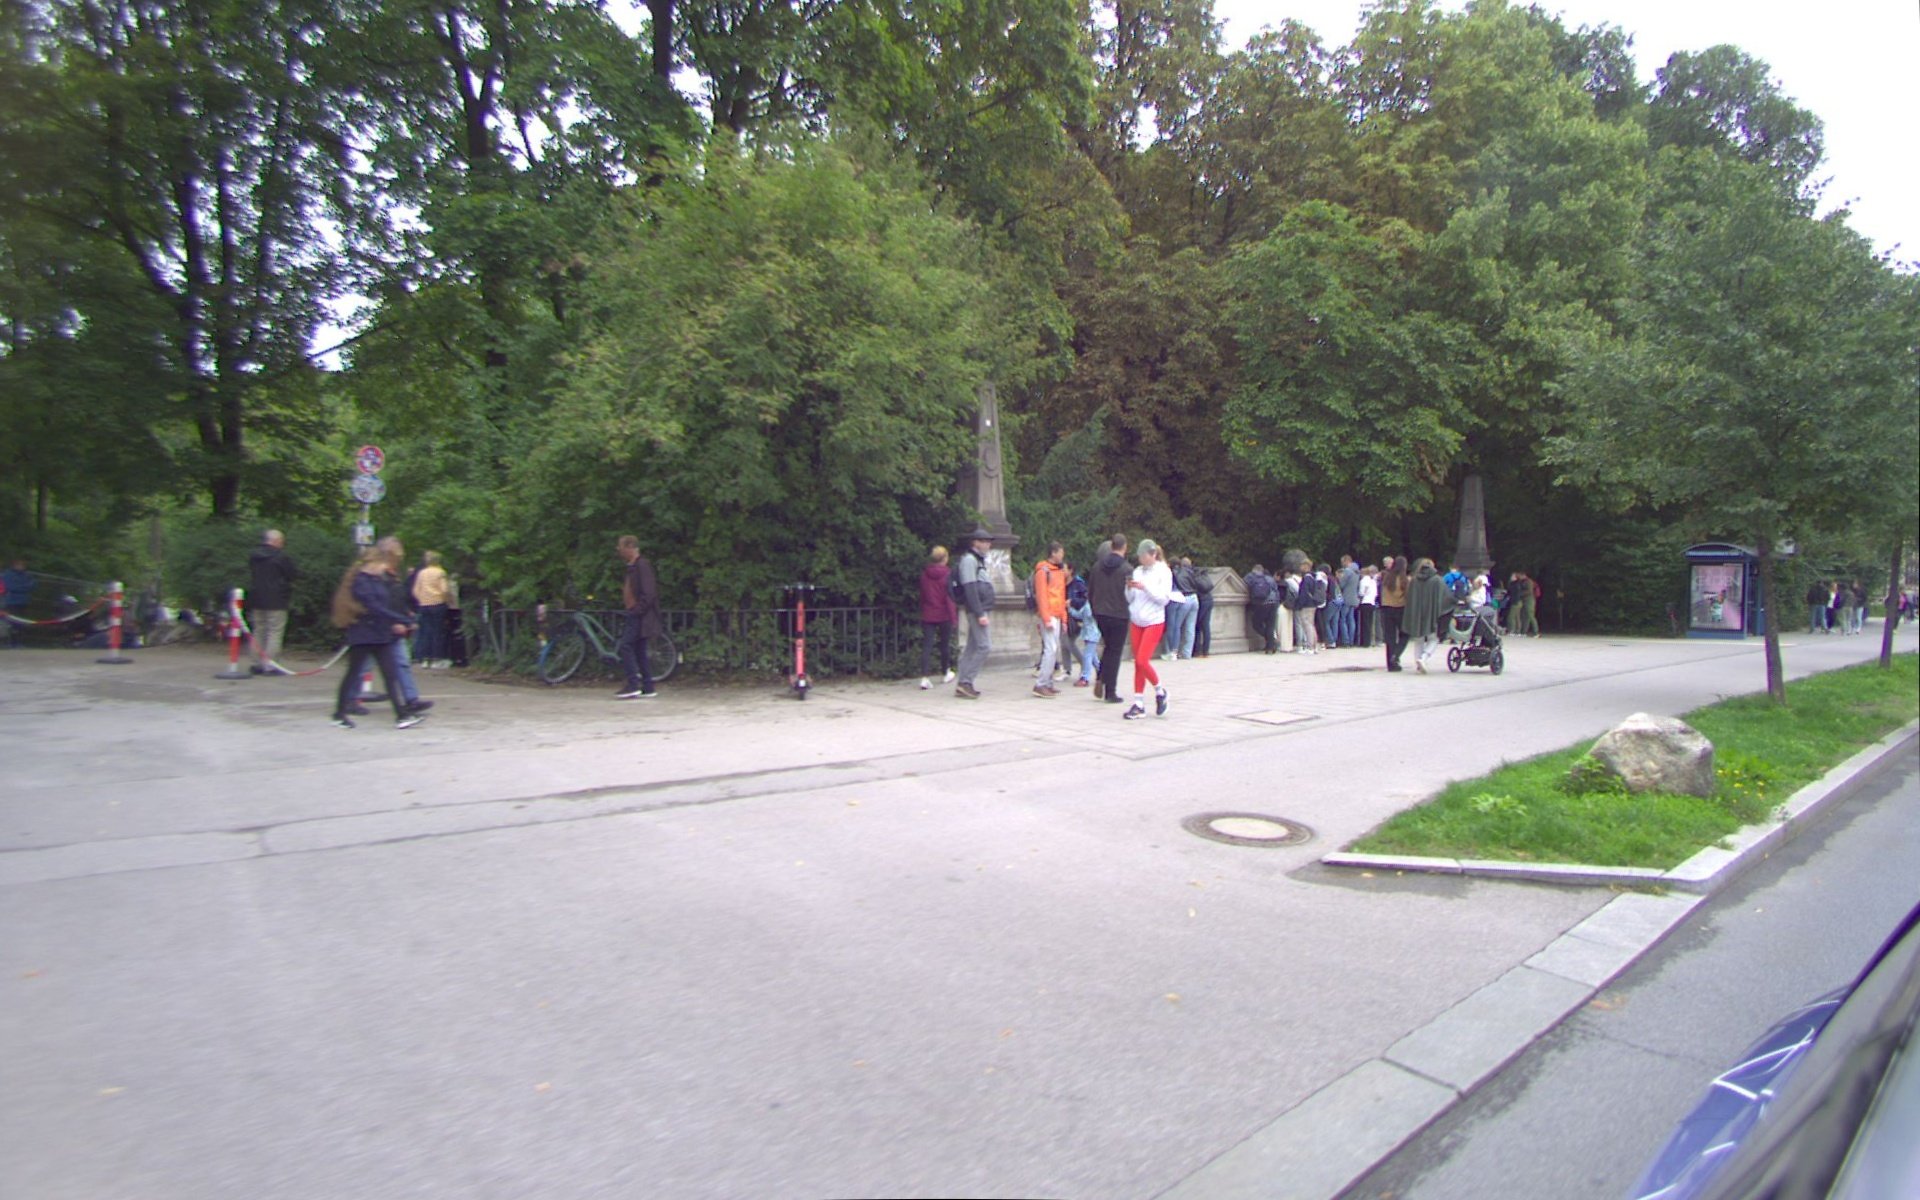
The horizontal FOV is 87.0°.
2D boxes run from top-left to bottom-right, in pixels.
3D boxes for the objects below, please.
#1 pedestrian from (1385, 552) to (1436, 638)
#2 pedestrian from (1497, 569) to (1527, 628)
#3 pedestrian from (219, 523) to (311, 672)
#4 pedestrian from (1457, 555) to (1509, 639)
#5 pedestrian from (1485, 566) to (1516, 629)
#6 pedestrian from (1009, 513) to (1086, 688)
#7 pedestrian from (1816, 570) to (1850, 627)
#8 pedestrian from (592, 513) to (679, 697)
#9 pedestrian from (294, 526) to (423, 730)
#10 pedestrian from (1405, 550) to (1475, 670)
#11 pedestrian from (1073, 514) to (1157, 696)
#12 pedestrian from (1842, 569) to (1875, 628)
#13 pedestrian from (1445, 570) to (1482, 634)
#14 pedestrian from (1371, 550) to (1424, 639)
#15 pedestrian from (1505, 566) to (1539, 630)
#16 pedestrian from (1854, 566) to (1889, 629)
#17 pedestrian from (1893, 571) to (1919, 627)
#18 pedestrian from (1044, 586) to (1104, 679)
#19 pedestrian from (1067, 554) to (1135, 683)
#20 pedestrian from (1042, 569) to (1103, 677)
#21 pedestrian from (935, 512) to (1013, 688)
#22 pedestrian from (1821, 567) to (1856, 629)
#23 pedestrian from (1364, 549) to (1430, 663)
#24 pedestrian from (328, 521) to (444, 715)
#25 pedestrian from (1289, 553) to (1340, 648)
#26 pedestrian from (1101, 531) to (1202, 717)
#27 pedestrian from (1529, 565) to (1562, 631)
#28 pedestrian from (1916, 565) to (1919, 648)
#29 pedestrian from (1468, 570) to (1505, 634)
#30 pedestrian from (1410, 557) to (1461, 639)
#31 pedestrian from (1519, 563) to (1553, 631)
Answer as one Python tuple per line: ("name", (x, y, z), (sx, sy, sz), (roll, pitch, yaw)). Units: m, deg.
("pedestrian", (10.014, -0.111, 22.502), (0.715, 1.875, 0.814), (0, 0, -38))
("pedestrian", (16.868, -0.047, 30.950), (0.522, 1.790, 0.639), (0, 0, -9))
("pedestrian", (-8.242, -0.032, 12.019), (0.683, 1.717, 0.608), (0, 0, 15))
("pedestrian", (11.776, -0.070, 22.802), (0.715, 1.852, 0.814), (0, 0, -38))
("pedestrian", (15.439, -0.077, 28.912), (0.523, 1.790, 0.638), (0, 0, -38))
("pedestrian", (1.003, -0.003, 11.636), (0.678, 1.938, 0.612), (0, 0, -24))
("pedestrian", (28.548, -0.042, 33.102), (0.933, 1.831, 0.709), (0, 0, -41))
("pedestrian", (-3.471, 0.045, 10.858), (0.683, 1.896, 0.608), (0, 0, 15))
("pedestrian", (-4.914, 0.215, 8.290), (0.683, 1.597, 0.608), (0, 0, 15))
("pedestrian", (7.093, 0.137, 14.970), (0.636, 1.712, 0.728), (0, 0, -35))
("pedestrian", (1.674, 0.046, 10.942), (0.678, 1.896, 0.612), (0, 0, -24))
("pedestrian", (28.543, -0.055, 32.132), (0.627, 1.831, 0.709), (0, 0, -41))
("pedestrian", (12.175, 0.039, 24.489), (0.523, 1.526, 0.638), (0, 0, -38))
("pedestrian", (9.451, -0.134, 21.867), (0.715, 1.875, 0.814), (0, 0, -38))
("pedestrian", (14.765, -0.060, 26.593), (0.523, 1.647, 0.638), (0, 0, -38))
("pedestrian", (28.560, -0.081, 31.708), (0.940, 1.939, 0.709), (0, 0, -41))
("pedestrian", (32.317, -0.041, 34.419), (0.743, 1.862, 0.752), (0, 0, -39))
("pedestrian", (1.467, 0.405, 13.045), (0.636, 1.167, 0.459), (0, 0, -36))
("pedestrian", (1.746, 0.221, 12.560), (0.636, 1.546, 0.551), (0, 0, -36))
("pedestrian", (1.445, 0.282, 13.023), (0.636, 1.343, 0.459), (0, 0, -36))
("pedestrian", (0.151, -0.004, 11.319), (0.678, 1.896, 0.612), (0, 0, -24))
("pedestrian", (28.004, -0.067, 32.250), (0.940, 1.939, 0.709), (0, 0, -41))
("pedestrian", (6.754, 0.085, 15.649), (0.636, 1.712, 0.728), (0, 0, -35))
("pedestrian", (-5.158, 0.149, 9.115), (0.683, 1.672, 0.608), (0, 0, 17))
("pedestrian", (6.540, 0.002, 18.662), (0.715, 1.712, 0.593), (0, 0, -38))
("pedestrian", (1.846, 0.212, 9.785), (0.636, 1.712, 0.728), (0, 0, -35))
("pedestrian", (16.056, -0.058, 27.742), (0.523, 1.790, 0.638), (0, 0, -38))
("pedestrian", (22.284, 0.156, 22.881), (0.533, 1.904, 0.807), (0, 0, -4))
("pedestrian", (12.799, 0.037, 24.590), (0.523, 1.526, 0.638), (0, 0, -38))
("pedestrian", (10.717, -0.048, 22.814), (0.715, 1.790, 0.814), (0, 0, -38))
("pedestrian", (15.386, -0.083, 27.053), (0.523, 1.790, 0.638), (0, 0, -38))
